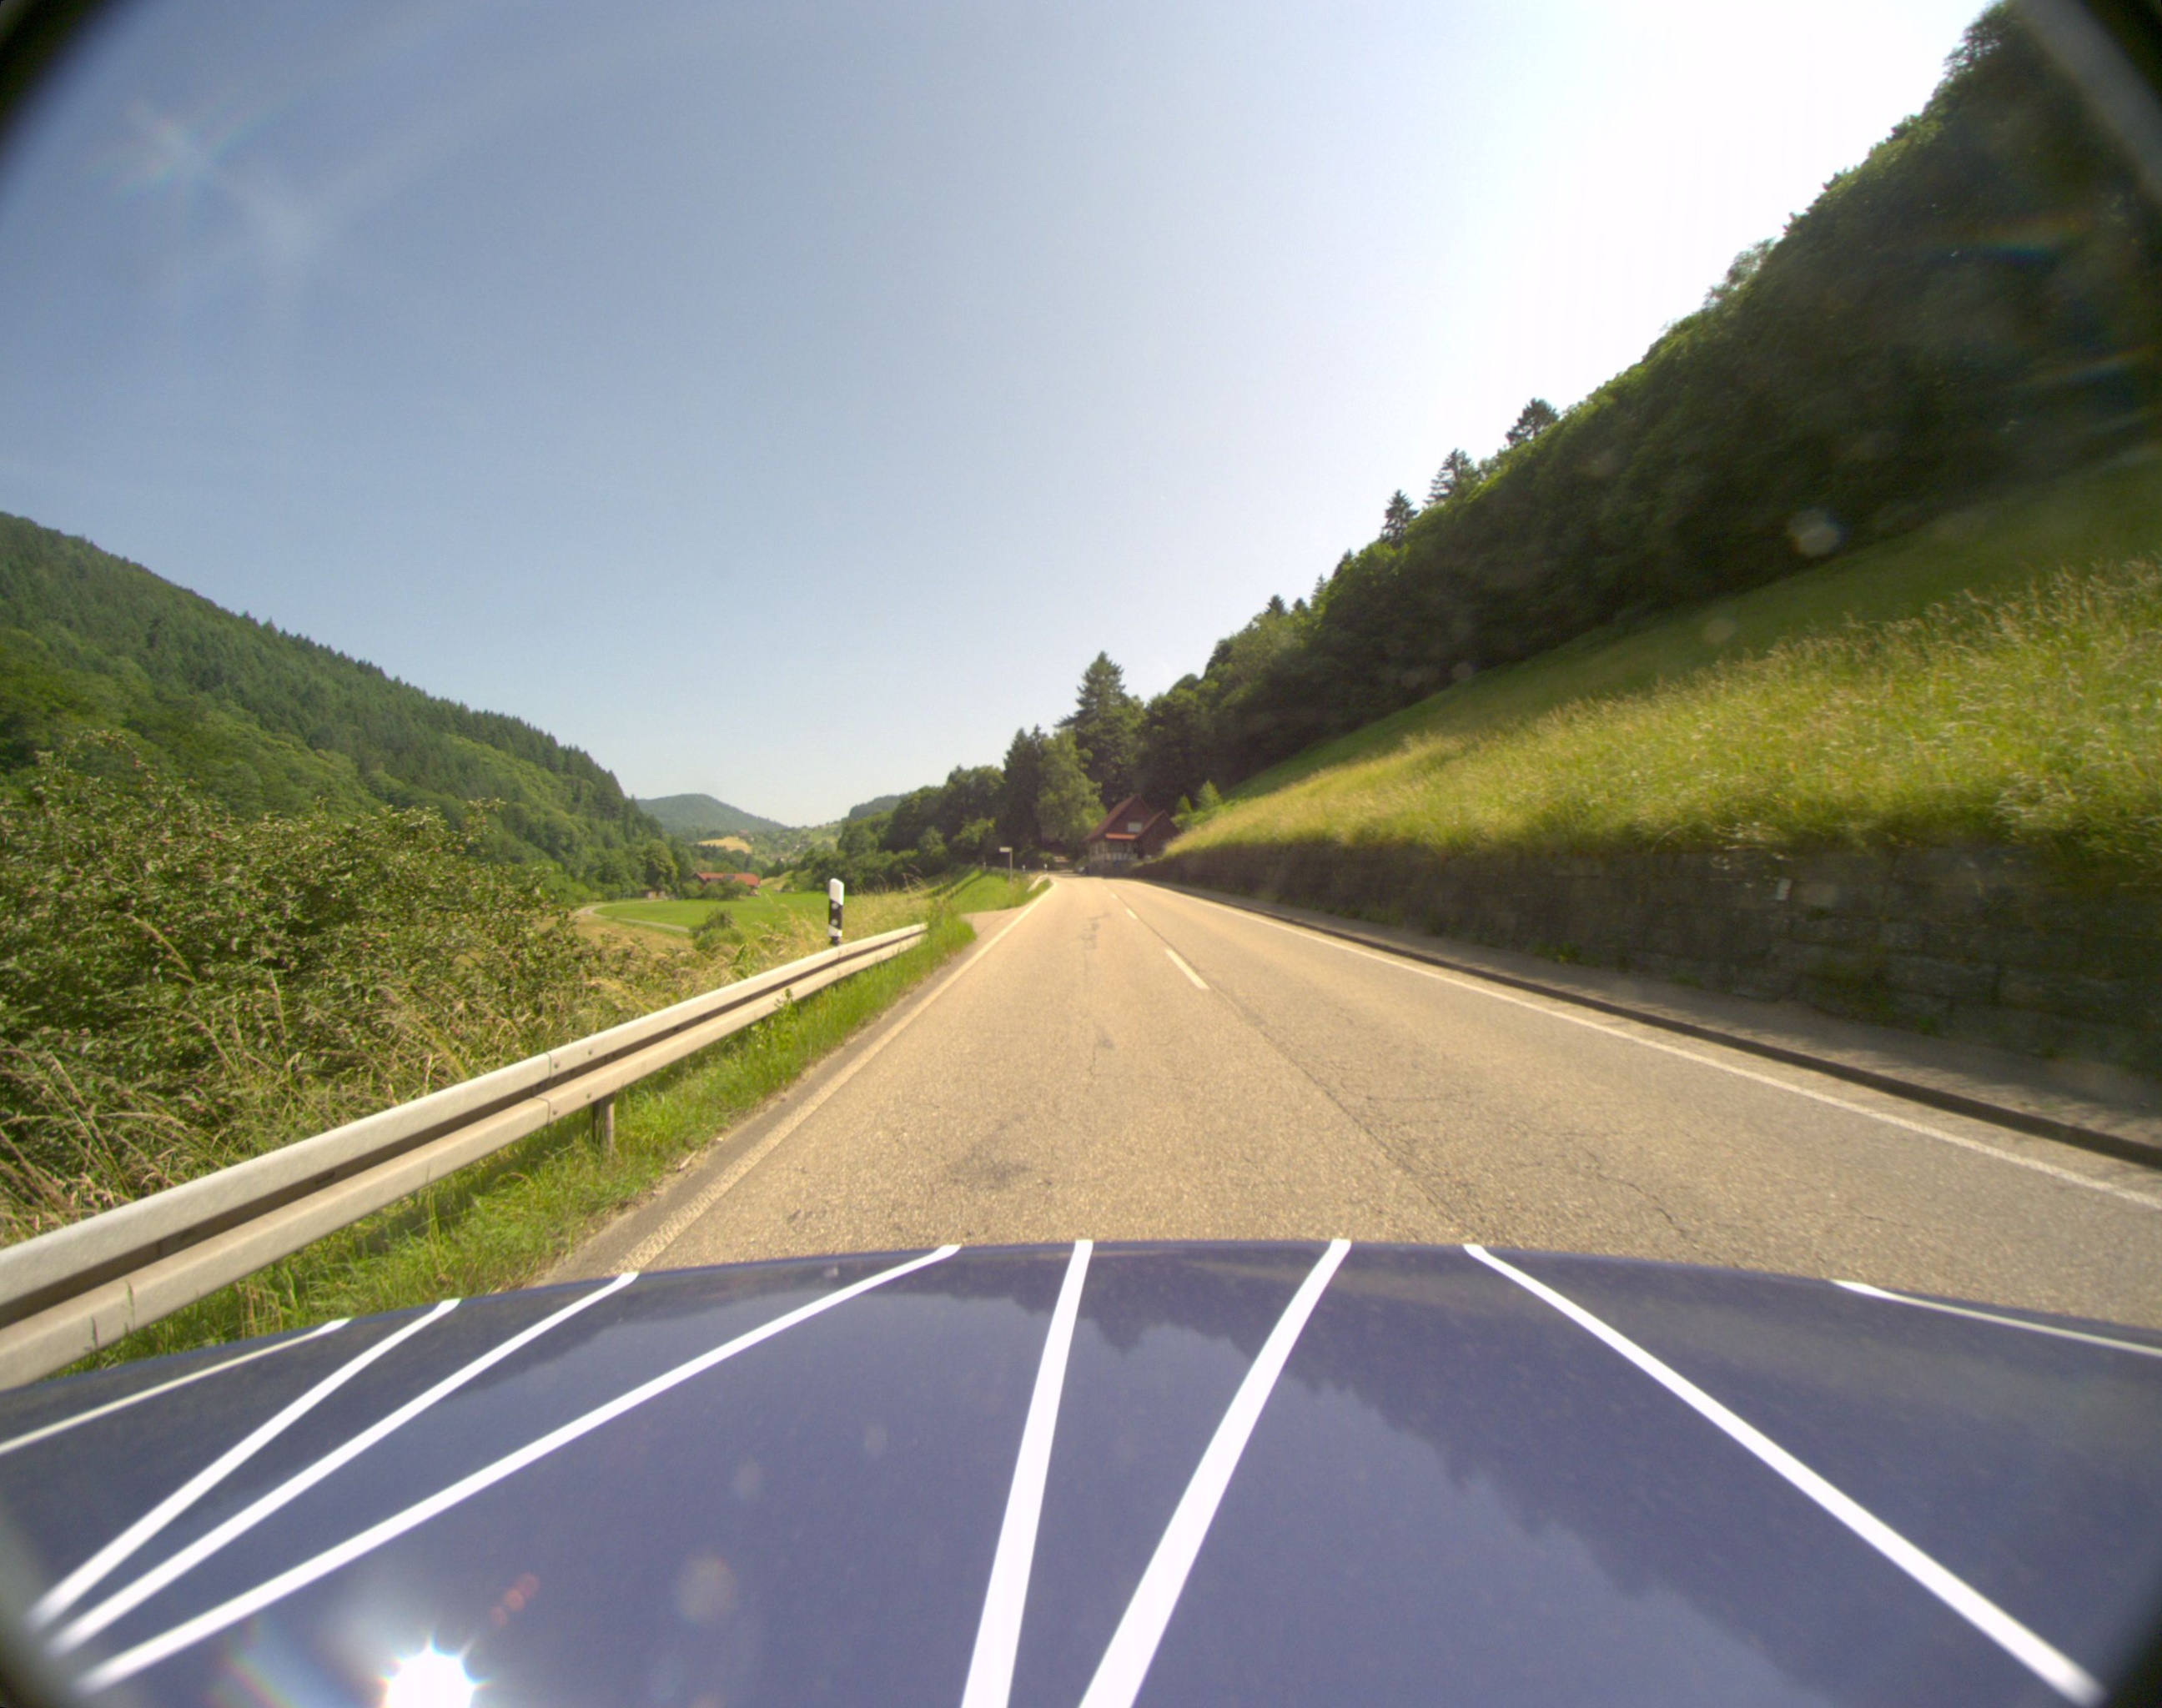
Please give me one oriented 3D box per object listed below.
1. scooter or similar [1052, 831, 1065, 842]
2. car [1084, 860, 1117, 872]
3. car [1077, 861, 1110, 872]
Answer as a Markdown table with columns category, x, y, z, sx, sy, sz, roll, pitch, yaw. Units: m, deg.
| category | x | y | z | sx | sy | sz | roll | pitch | yaw |
| --- | --- | --- | --- | --- | --- | --- | --- | --- | --- |
| scooter or similar | -4.443 | -3.437 | 151.452 | 1.984 | 2.015 | 4.402 | -4 | 1 | -7 |
| car | 2.428 | 1.479 | 94.661 | 3.831 | 1.424 | 1.861 | 1 | 1 | -14 |
| car | 1.609 | 1.561 | 96.741 | 3.831 | 1.408 | 1.855 | 0 | -1 | -14 |
